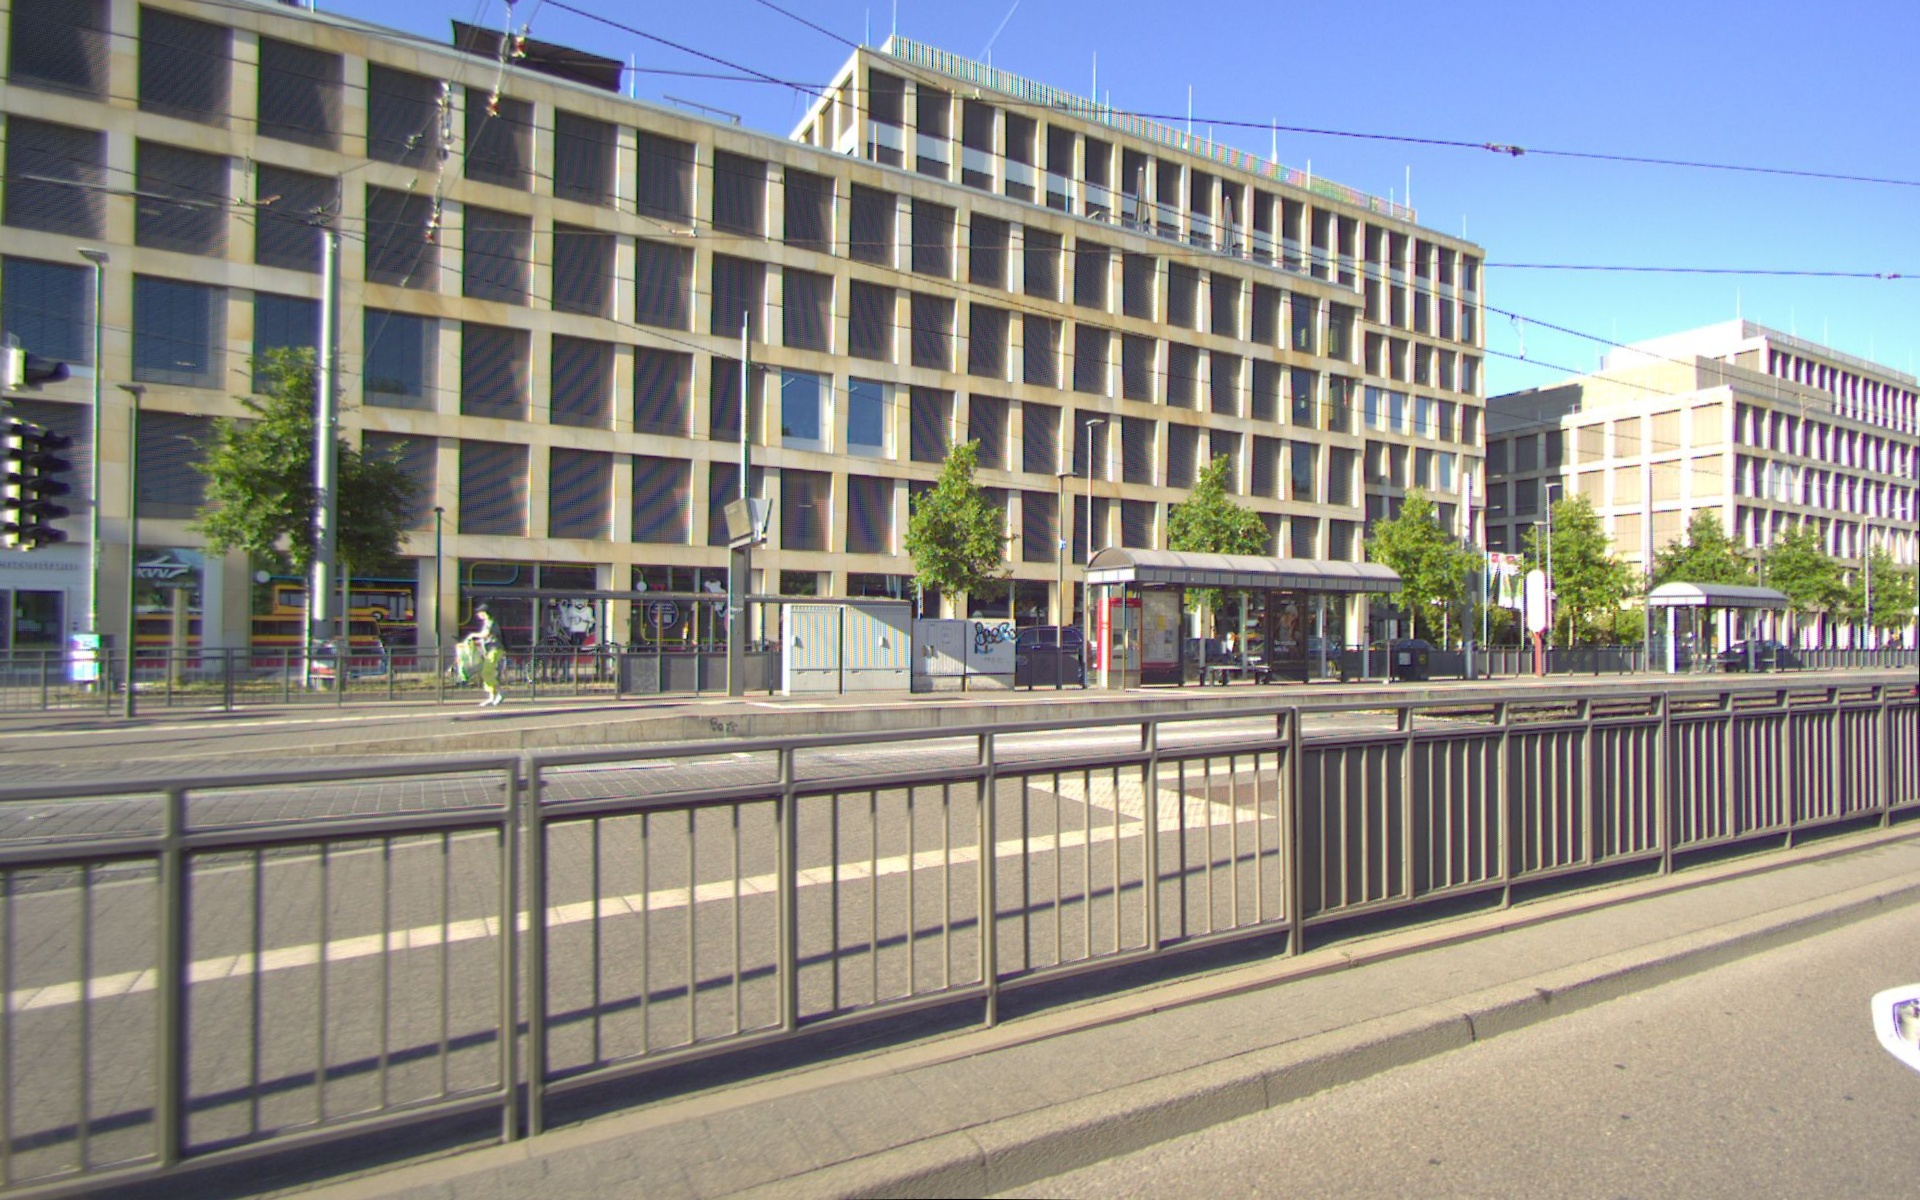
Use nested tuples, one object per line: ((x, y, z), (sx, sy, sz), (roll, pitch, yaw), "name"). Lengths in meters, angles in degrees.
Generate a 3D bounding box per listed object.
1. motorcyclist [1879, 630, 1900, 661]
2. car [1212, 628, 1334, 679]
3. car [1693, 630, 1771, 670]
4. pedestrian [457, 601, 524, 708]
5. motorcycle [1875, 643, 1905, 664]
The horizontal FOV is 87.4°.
((47.293, 2.305, 51.119), (0.755, 1.553, 0.573), (1, -2, -28), "motorcyclist")
((11.099, 1.864, 35.580), (3.951, 1.684, 1.985), (1, -2, -29), "car")
((40.825, 2.618, 53.103), (3.955, 2.040, 1.983), (1, -2, -32), "car")
((-7.563, 0.862, 16.178), (0.921, 1.666, 0.791), (1, -2, -28), "pedestrian")
((47.389, 2.711, 51.175), (1.819, 1.035, 0.602), (1, -2, -29), "motorcycle")
